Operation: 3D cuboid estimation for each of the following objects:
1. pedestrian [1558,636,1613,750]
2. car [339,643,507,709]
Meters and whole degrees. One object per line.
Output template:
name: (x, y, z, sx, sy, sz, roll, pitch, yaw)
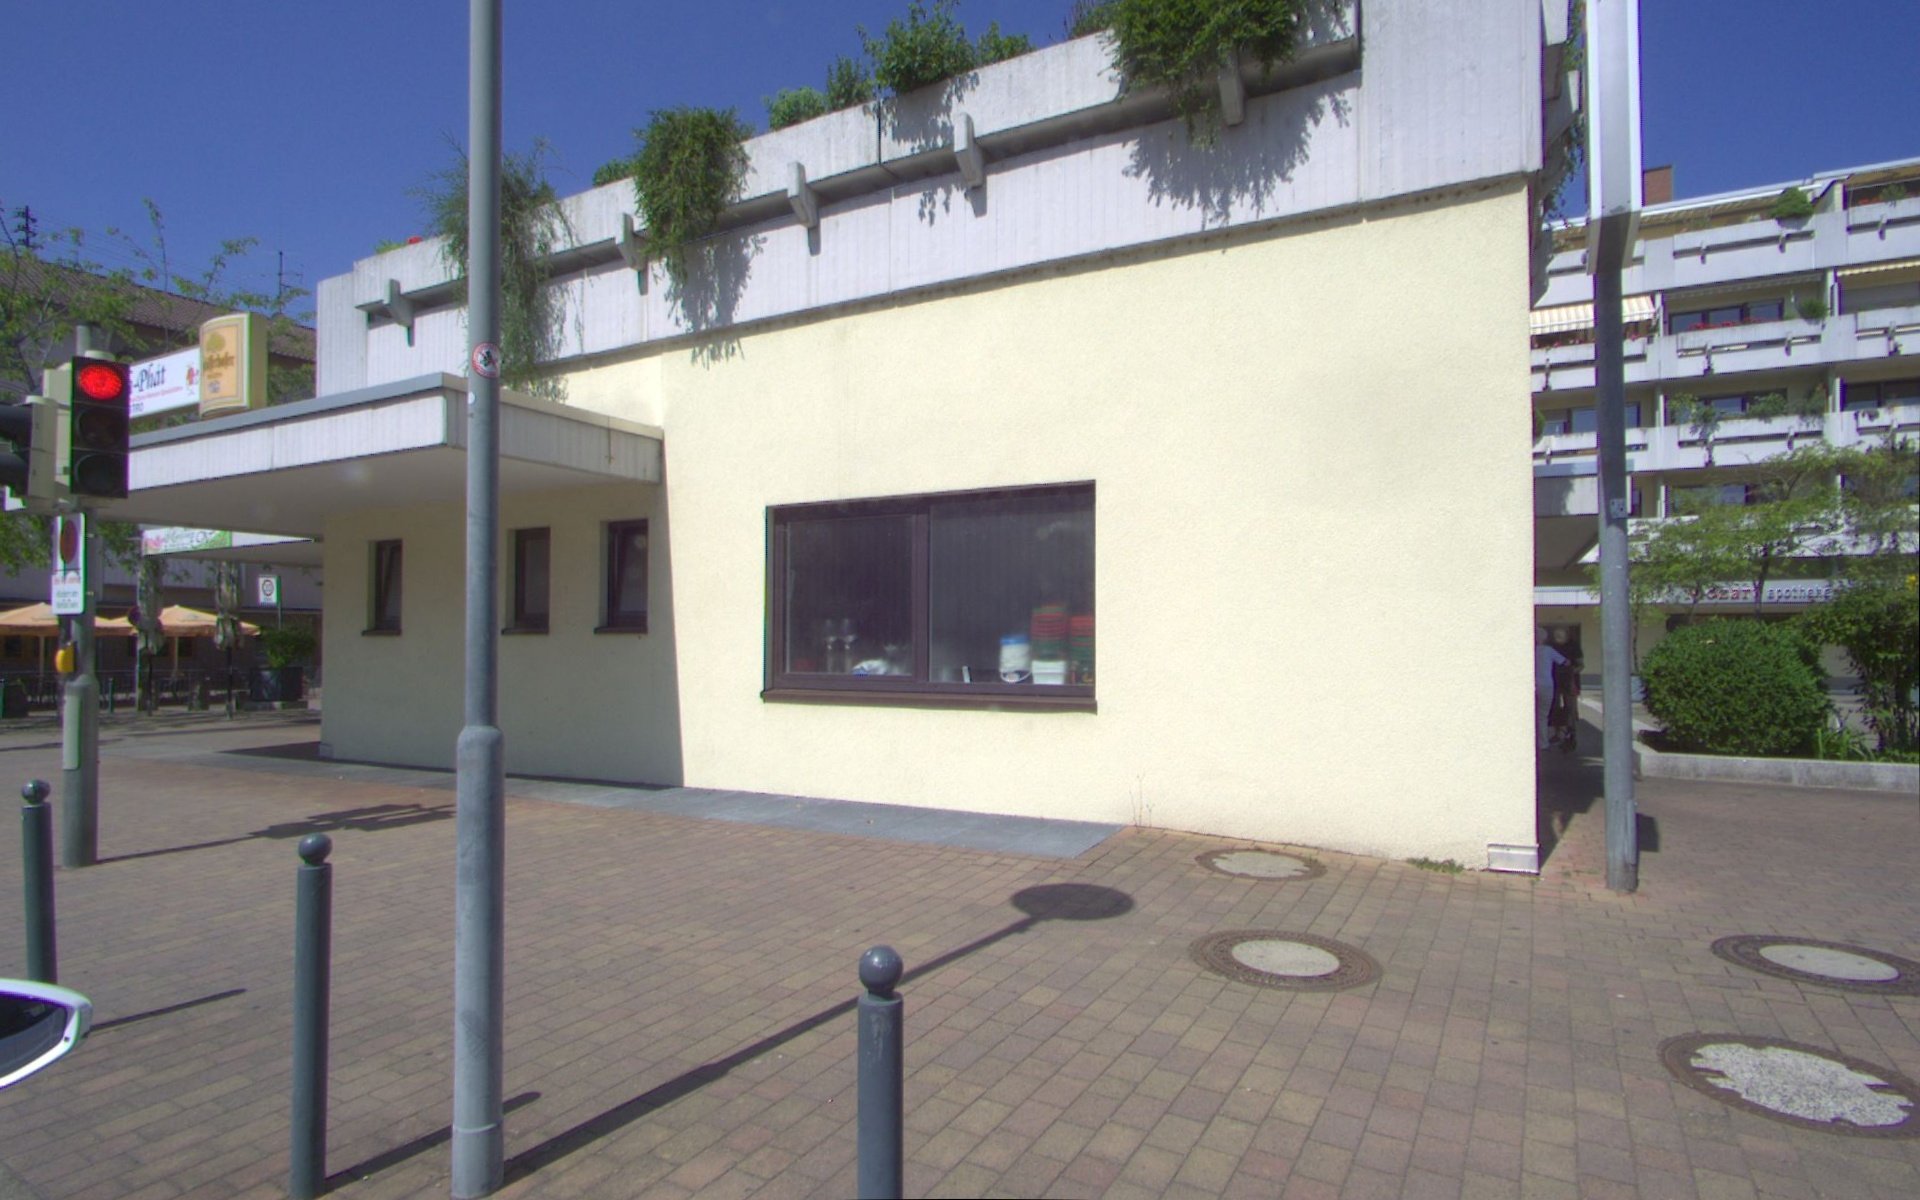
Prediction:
pedestrian: (8.458, 1.231, 13.549, 0.596, 1.482, 0.791, -1, -2, 32)
car: (-13.431, 1.881, 25.045, 3.909, 1.528, 1.767, -2, -3, 26)
